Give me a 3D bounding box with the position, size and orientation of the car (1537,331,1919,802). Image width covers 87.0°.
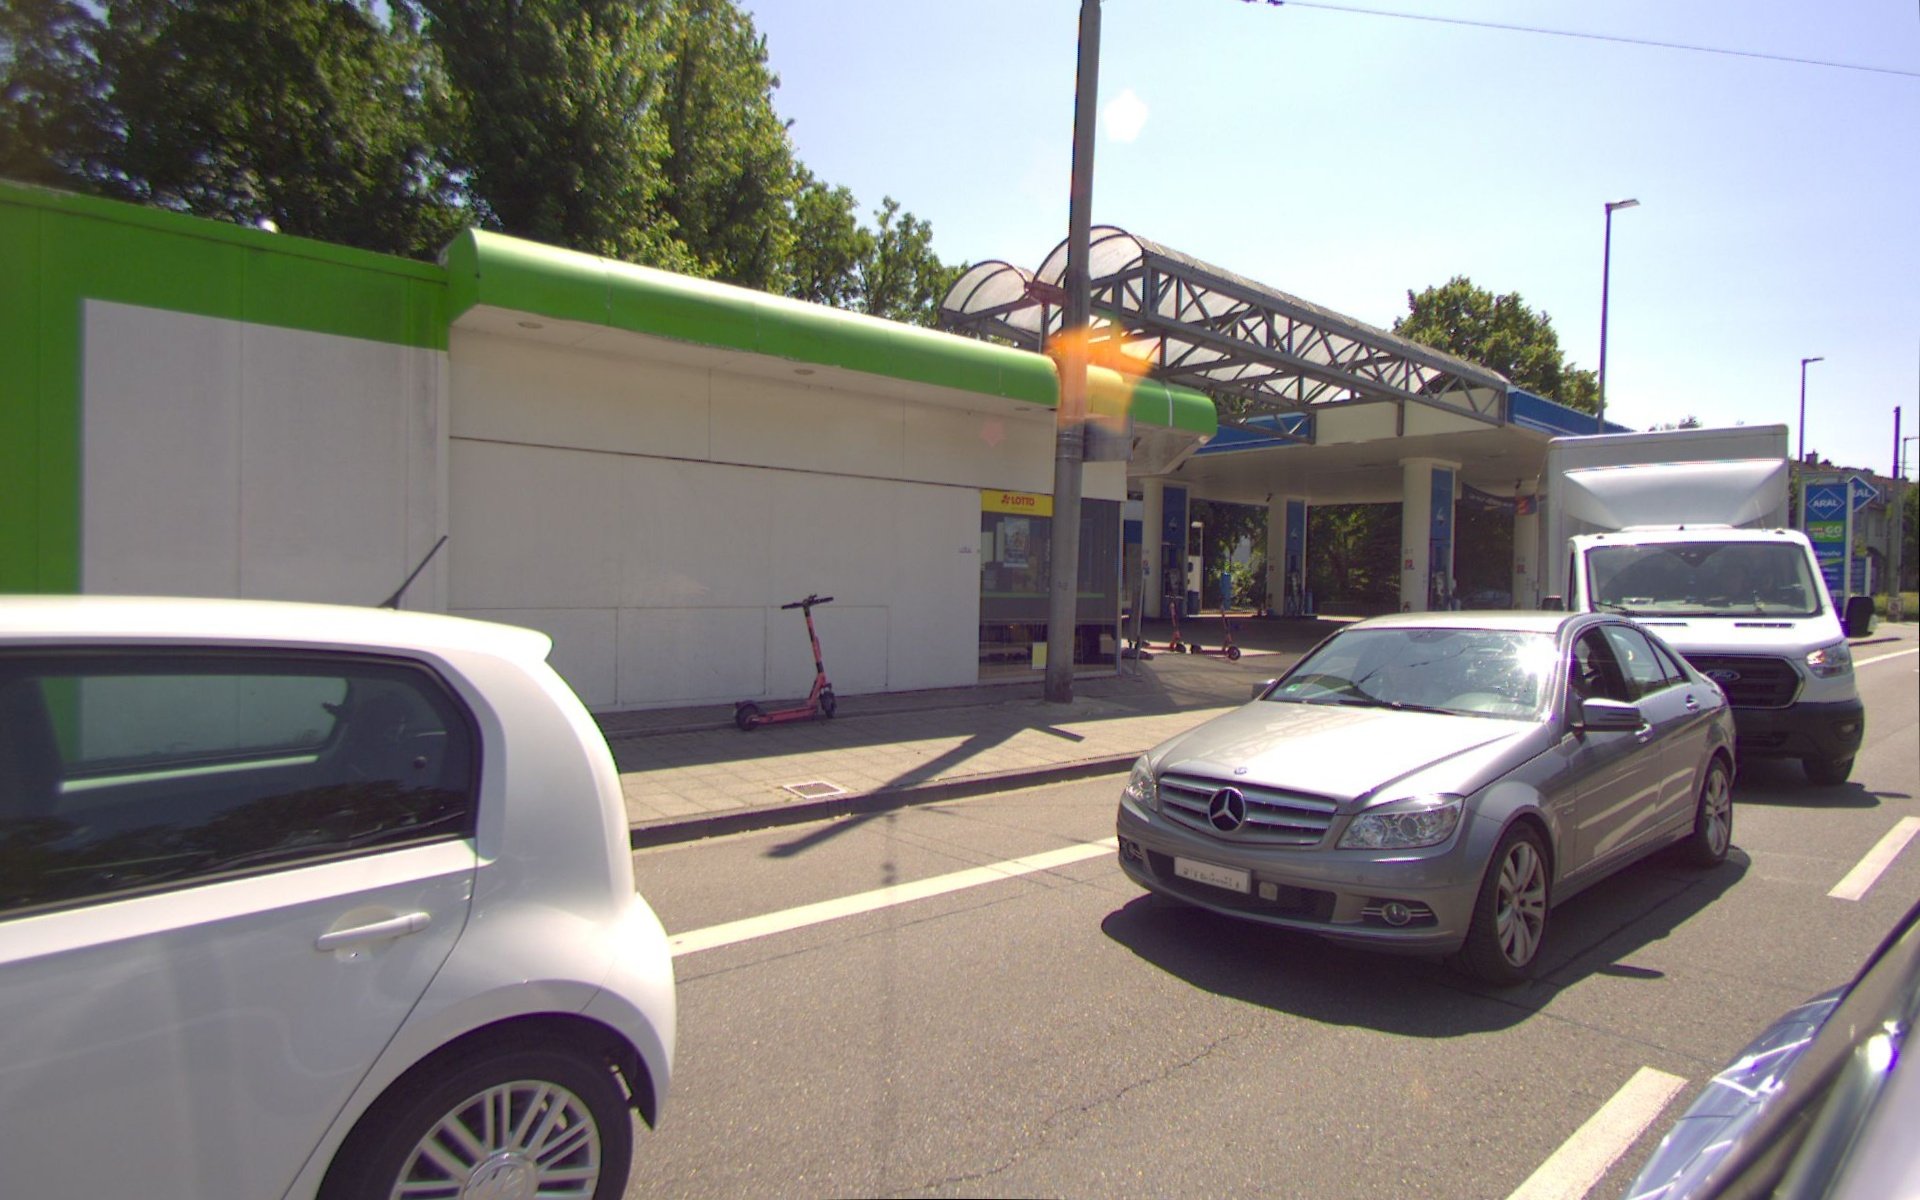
[{"bbox_3d":[8.007,-0.271,11.533,2.210,3.377,8.550,-1,0,28],"label":"car"}]

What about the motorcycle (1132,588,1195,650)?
[{"bbox_3d":[3.999,0.360,19.950,0.389,1.127,1.156,2,2,-42],"label":"motorcycle"}]

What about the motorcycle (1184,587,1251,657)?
[{"bbox_3d":[4.821,0.399,19.016,0.357,1.225,1.156,2,2,-41],"label":"motorcycle"}]

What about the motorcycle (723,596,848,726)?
[{"bbox_3d":[-1.603,0.536,9.362,1.098,1.118,0.253,-1,7,-40],"label":"motorcycle"}]

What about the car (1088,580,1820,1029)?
[{"bbox_3d":[3.139,0.696,5.706,5.206,1.492,1.716,0,-1,-40],"label":"car"}]

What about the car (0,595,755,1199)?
[{"bbox_3d":[-2.276,0.722,1.864,3.375,1.466,1.612,0,0,-40],"label":"car"}]
